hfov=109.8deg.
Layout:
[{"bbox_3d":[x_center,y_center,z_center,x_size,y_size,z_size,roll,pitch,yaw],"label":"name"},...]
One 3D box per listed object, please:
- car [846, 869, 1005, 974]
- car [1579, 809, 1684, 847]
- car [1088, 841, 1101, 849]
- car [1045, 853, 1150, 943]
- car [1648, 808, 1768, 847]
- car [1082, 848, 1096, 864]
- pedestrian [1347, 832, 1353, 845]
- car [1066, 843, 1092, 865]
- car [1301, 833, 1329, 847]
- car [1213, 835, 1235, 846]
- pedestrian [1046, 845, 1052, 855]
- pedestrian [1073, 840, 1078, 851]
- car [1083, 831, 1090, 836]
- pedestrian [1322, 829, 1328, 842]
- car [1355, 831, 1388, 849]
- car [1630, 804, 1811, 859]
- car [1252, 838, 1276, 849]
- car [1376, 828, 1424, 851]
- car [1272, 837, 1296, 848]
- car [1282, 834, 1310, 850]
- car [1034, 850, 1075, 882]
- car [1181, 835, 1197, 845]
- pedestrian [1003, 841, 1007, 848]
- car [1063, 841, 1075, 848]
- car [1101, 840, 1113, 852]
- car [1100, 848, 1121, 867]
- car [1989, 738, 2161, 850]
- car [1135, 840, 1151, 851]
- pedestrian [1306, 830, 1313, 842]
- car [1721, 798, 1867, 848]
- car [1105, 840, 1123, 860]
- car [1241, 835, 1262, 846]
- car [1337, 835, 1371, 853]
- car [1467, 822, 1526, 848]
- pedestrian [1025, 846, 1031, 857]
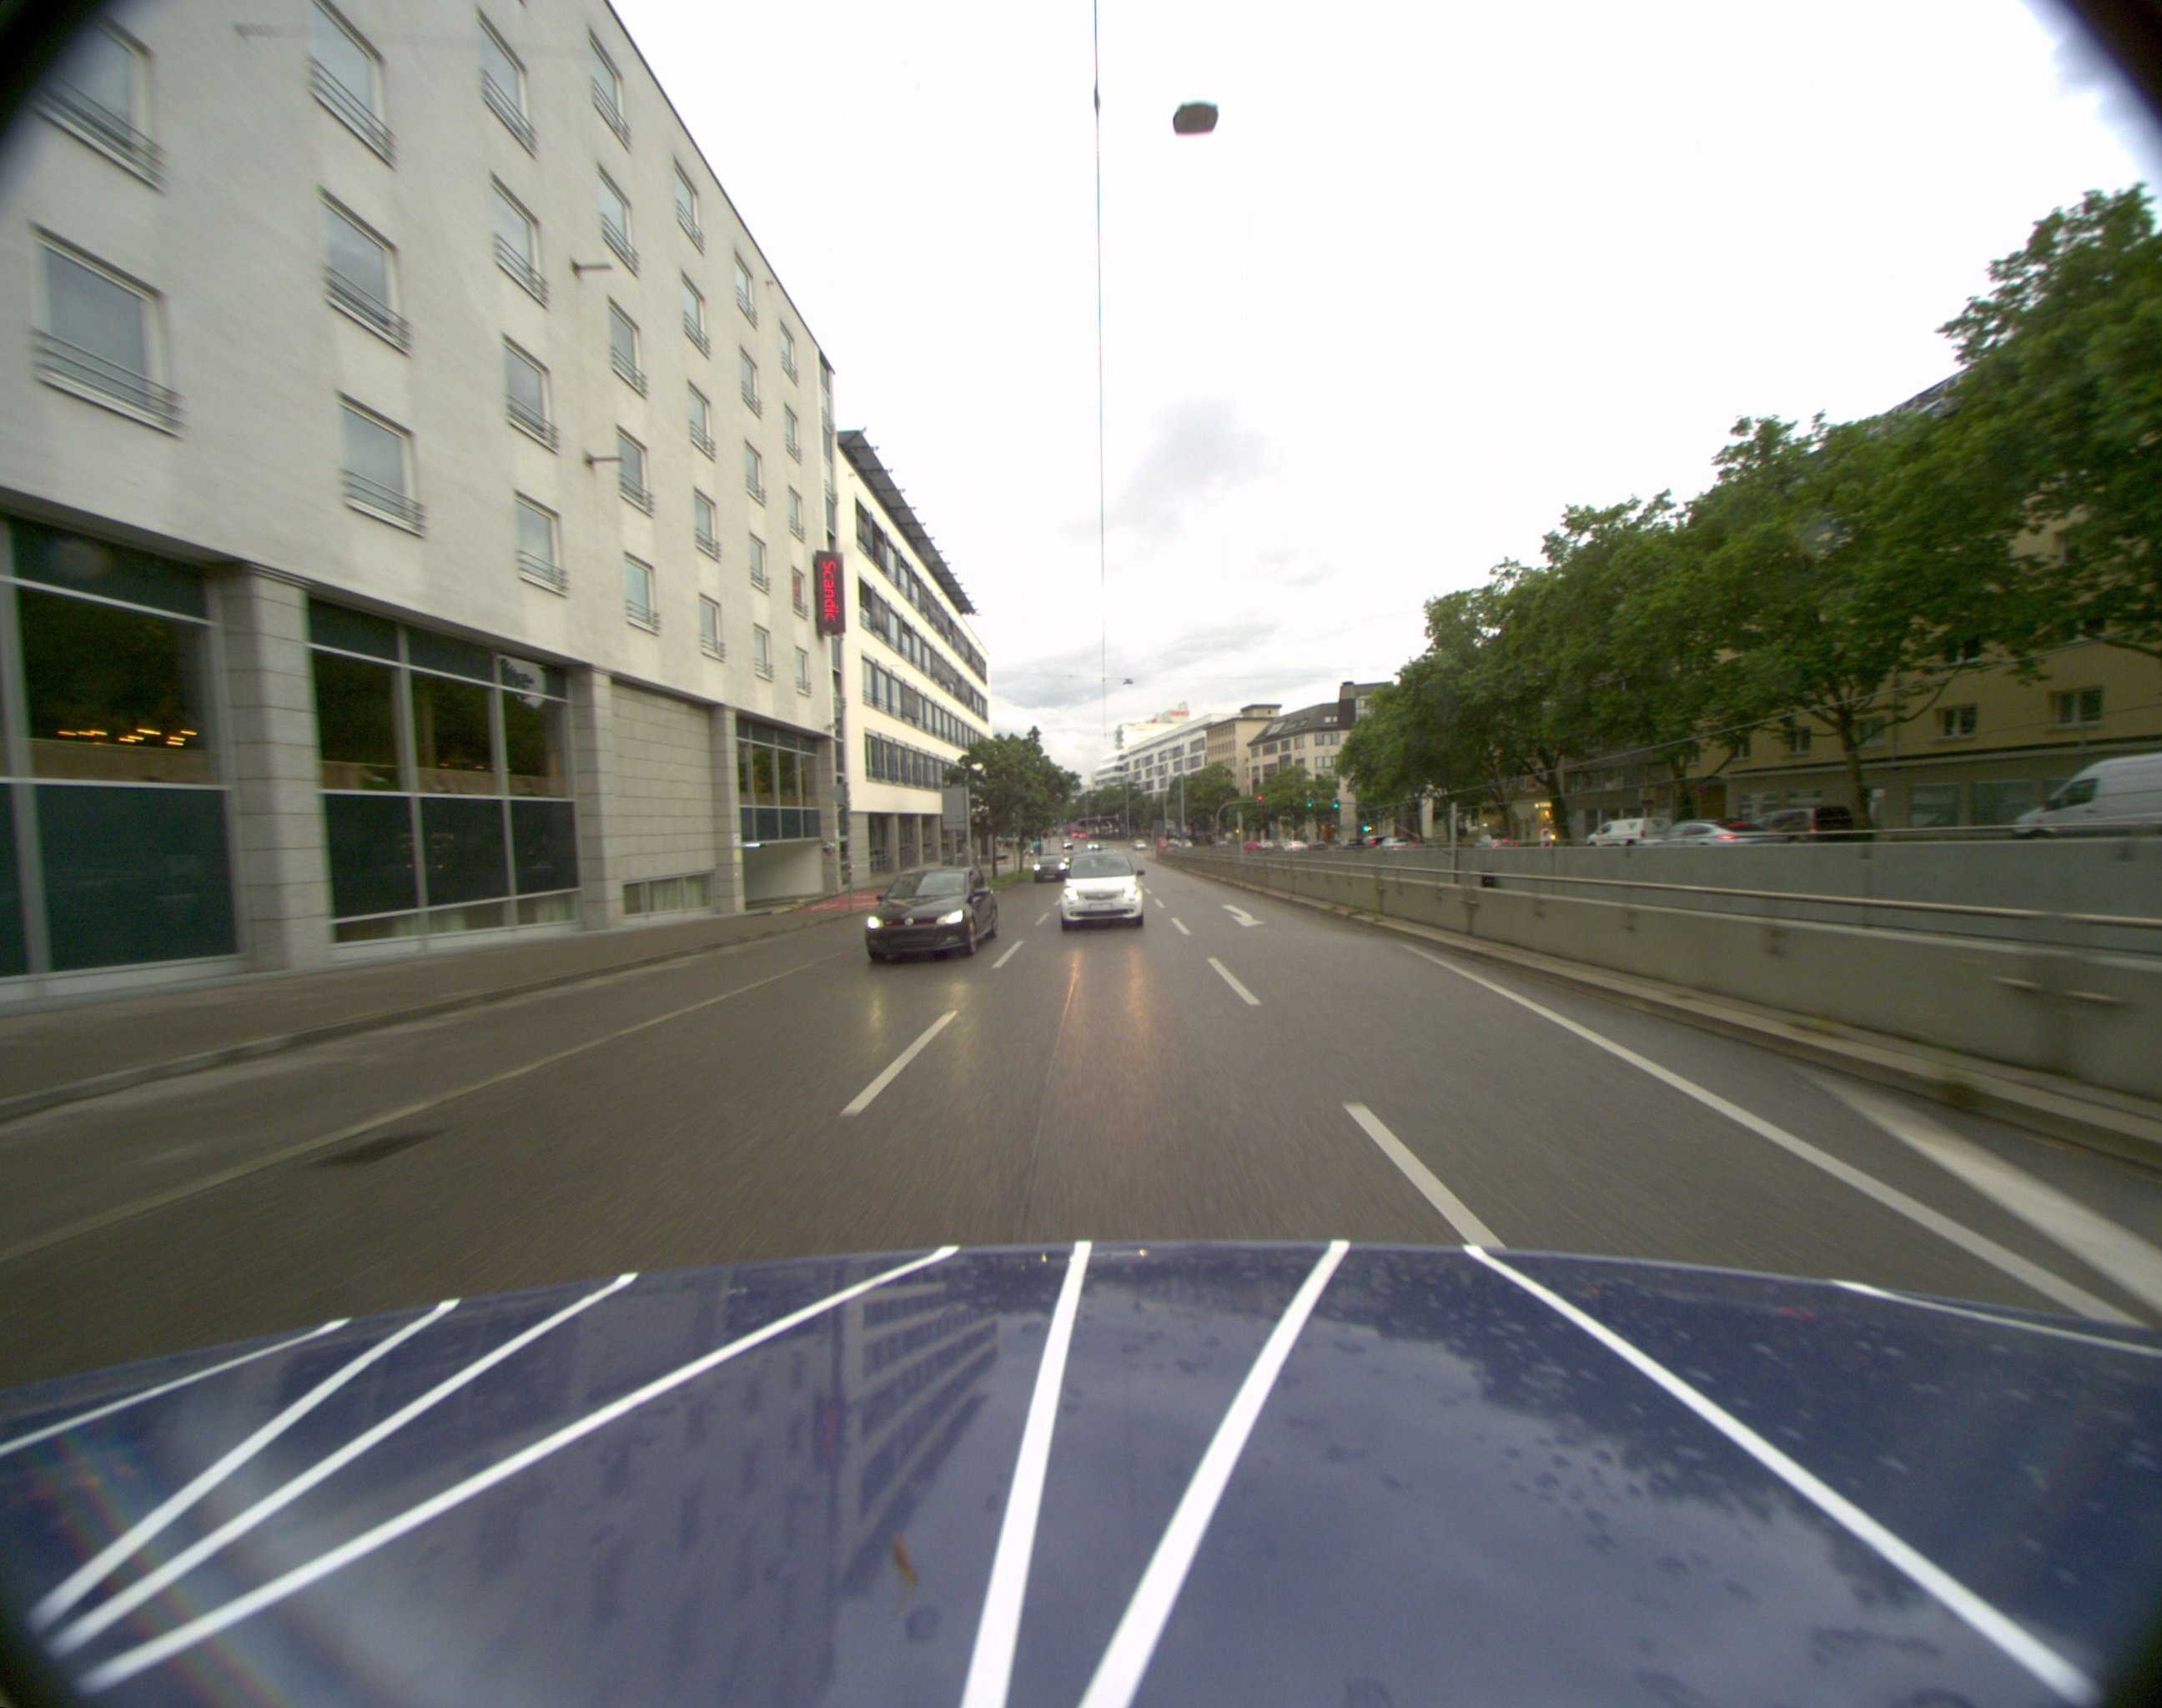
[{"bbox_3d":[-2.514,1.051,13.238,1.677,1.391,3.849,-3,0,4],"label":"car"},{"bbox_3d":[28.790,-1.310,39.972,1.881,1.754,4.900,-3,0,0],"label":"car"},{"bbox_3d":[2.652,-1.741,151.315,1.800,1.502,3.996,-4,2,-10],"label":"car"},{"bbox_3d":[0.397,0.786,15.426,1.798,1.528,4.001,-2,0,3],"label":"car"},{"bbox_3d":[28.390,-1.148,34.627,1.881,1.574,4.473,-3,0,3],"label":"car"},{"bbox_3d":[1.150,0.262,106.590,1.799,1.934,3.998,-4,2,0],"label":"car"},{"bbox_3d":[37.814,-2.192,106.634,0.590,1.799,0.674,-3,2,9],"label":"pedestrian"},{"bbox_3d":[-0.141,0.008,64.786,1.798,1.657,4.000,-4,2,4],"label":"car"},{"bbox_3d":[27.653,-1.682,89.830,1.799,1.502,3.997,-4,2,-5],"label":"car"},{"bbox_3d":[21.622,-1.982,115.107,1.800,1.549,4.831,-3,2,-7],"label":"car"},{"bbox_3d":[-4.578,-0.615,109.868,0.588,1.469,0.603,-4,2,-19],"label":"pedestrian"},{"bbox_3d":[-0.903,-1.424,125.690,0.604,1.792,0.587,-4,2,-5],"label":"pedestrian"},{"bbox_3d":[1.882,-7.020,254.747,1.800,1.502,3.996,-4,2,-10],"label":"car"},{"bbox_3d":[36.552,-2.764,113.654,0.604,1.775,0.526,-4,2,-5],"label":"pedestrian"},{"bbox_3d":[27.670,-1.342,72.525,1.798,1.571,4.017,-3,0,4],"label":"car"},{"bbox_3d":[20.586,-0.695,24.823,2.031,1.501,4.884,-3,0,5],"label":"car"},{"bbox_3d":[25.935,-1.508,107.675,1.800,1.502,3.996,-3,2,-9],"label":"car"},{"bbox_3d":[23.701,-1.058,56.663,1.850,1.501,4.822,-3,0,5],"label":"car"},{"bbox_3d":[29.086,-1.636,109.061,1.800,1.502,3.939,-4,2,-9],"label":"car"},{"bbox_3d":[24.420,-1.366,86.430,1.799,1.760,4.729,-3,2,-1],"label":"car"},{"bbox_3d":[-1.356,0.582,40.604,1.750,1.433,3.706,-4,2,4],"label":"car"},{"bbox_3d":[19.019,-2.502,133.726,1.800,1.552,3.997,-3,2,-7],"label":"car"},{"bbox_3d":[-15.592,-2.002,156.071,0.588,1.469,0.603,-4,2,-19],"label":"pedestrian"},{"bbox_3d":[-2.554,-2.050,163.811,1.800,1.502,3.996,-4,2,-10],"label":"car"},{"bbox_3d":[4.719,-1.469,138.325,1.799,1.934,3.999,-4,2,0],"label":"car"},{"bbox_3d":[2.708,0.337,69.434,1.798,1.502,3.999,-4,2,2],"label":"car"},{"bbox_3d":[26.966,-1.492,18.182,2.458,2.647,6.933,-3,0,4],"label":"car"},{"bbox_3d":[10.824,-1.449,132.842,1.800,1.734,3.996,-4,2,-10],"label":"car"},{"bbox_3d":[35.465,-2.793,118.090,0.835,1.775,0.615,-4,2,-5],"label":"pedestrian"},{"bbox_3d":[27.799,-1.164,29.850,1.798,1.719,4.206,-3,0,2],"label":"car"},{"bbox_3d":[3.642,-0.443,83.832,1.798,2.021,3.999,-4,2,2],"label":"car"},{"bbox_3d":[23.058,-1.794,103.065,1.589,1.393,3.877,-3,2,-6],"label":"car"},{"bbox_3d":[24.653,-0.951,68.834,1.798,1.502,4.344,-2,2,5],"label":"car"},{"bbox_3d":[26.480,-1.164,48.554,1.850,1.501,4.018,-3,0,6],"label":"car"},{"bbox_3d":[-7.810,-0.326,112.955,0.707,1.615,0.644,-3,2,4],"label":"pedestrian"}]
